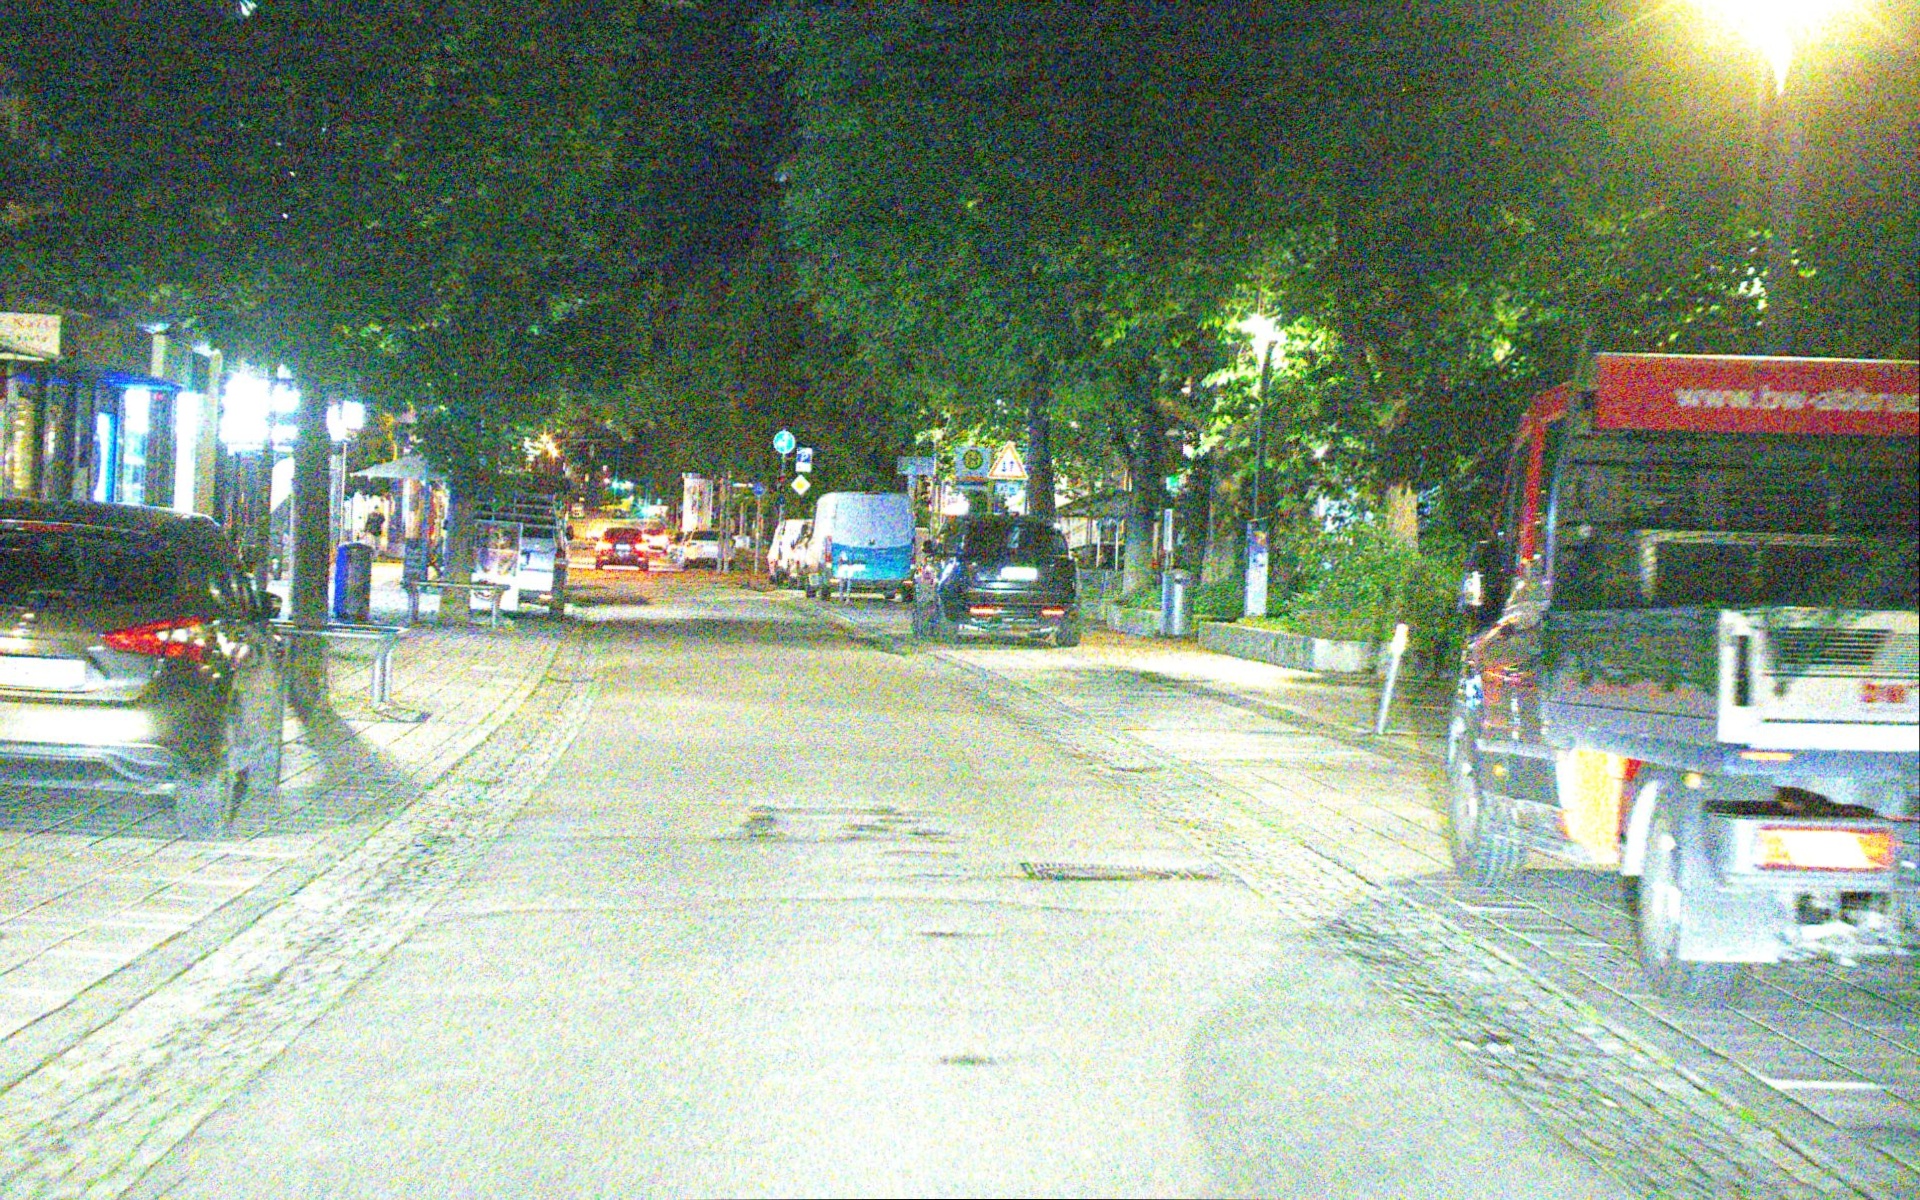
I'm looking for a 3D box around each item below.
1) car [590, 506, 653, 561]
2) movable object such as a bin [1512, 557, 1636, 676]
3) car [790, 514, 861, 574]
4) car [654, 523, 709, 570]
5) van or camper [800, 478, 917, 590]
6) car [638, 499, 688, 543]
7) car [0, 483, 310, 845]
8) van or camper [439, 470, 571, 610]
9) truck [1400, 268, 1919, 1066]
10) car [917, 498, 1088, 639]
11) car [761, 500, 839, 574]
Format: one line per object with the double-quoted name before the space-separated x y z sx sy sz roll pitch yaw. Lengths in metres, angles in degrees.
"car" -11.825 -2.331 119.946 1.993 1.817 4.001 2 1 -7
"movable object such as a bin" 7.155 0.185 40.115 1.104 1.302 1.010 3 1 -7
"car" -3.423 -1.423 86.995 1.531 1.413 3.846 2 1 -5
"car" -9.751 -1.870 120.203 1.839 1.537 3.846 2 1 -5
"van or camper" -2.220 -1.436 74.186 2.108 2.309 4.263 1 1 -7
"car" -13.200 -3.501 152.498 1.993 1.817 4.001 2 1 -7
"car" -4.315 0.217 17.204 1.673 1.538 4.231 3 1 -6
"van or camper" -7.223 -0.969 54.760 1.866 2.004 4.263 4 1 -7
"truck" 3.267 0.165 12.917 2.336 2.304 5.781 2 1 -1
"car" 0.545 -0.467 48.201 1.814 1.822 4.348 2 1 -6
"car" -4.356 -1.712 93.066 1.839 1.894 3.846 2 1 -5
